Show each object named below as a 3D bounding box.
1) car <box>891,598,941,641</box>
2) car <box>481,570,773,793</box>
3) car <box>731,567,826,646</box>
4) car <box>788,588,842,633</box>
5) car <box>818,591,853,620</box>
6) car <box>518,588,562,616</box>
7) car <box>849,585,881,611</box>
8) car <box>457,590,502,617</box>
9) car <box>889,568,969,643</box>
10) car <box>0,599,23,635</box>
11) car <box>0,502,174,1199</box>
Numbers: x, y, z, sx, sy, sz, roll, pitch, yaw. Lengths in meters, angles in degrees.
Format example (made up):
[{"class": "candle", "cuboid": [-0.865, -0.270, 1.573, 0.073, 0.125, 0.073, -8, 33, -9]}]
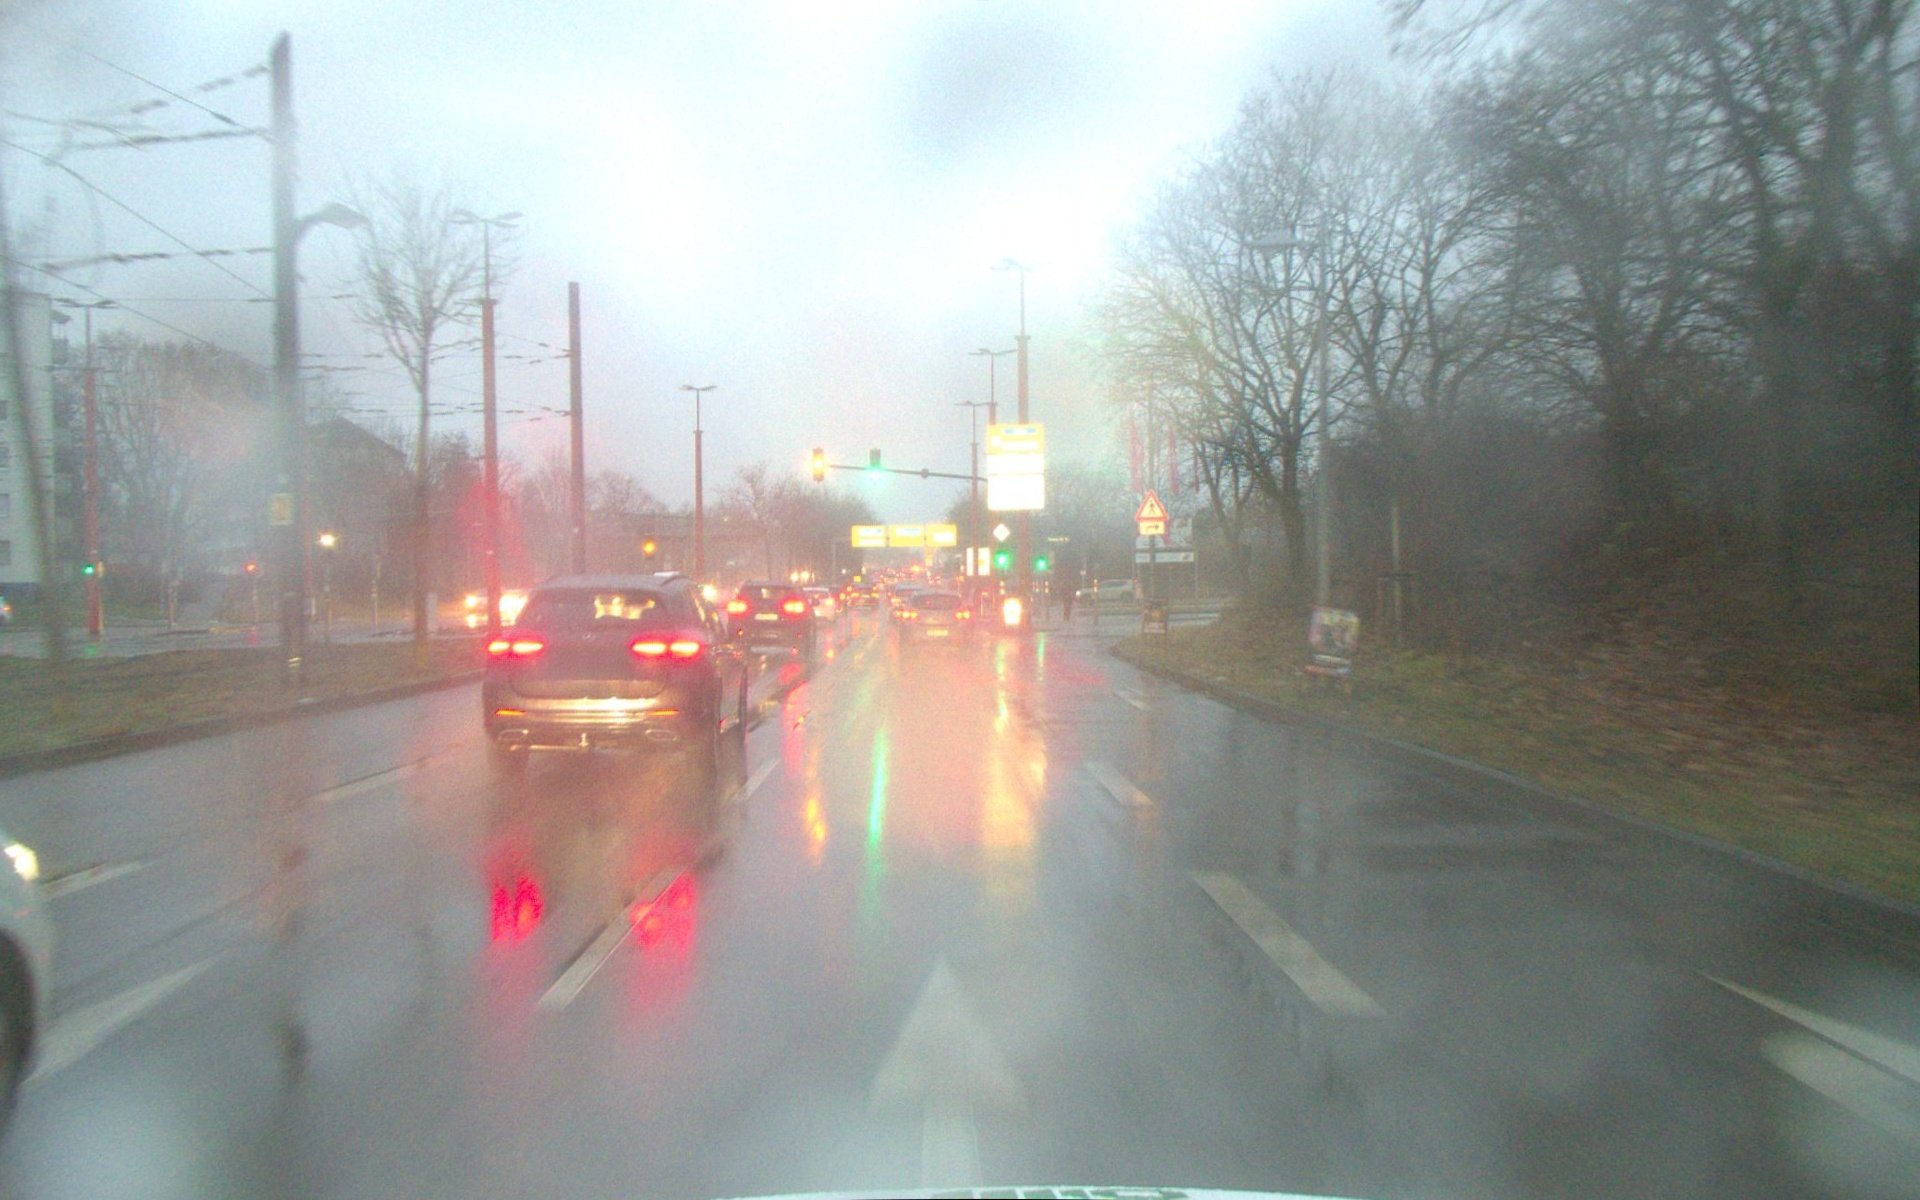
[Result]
[{"class": "car", "cuboid": [-1.796, 0.783, 67.244, 1.953, 1.691, 3.999, 1, 0, -2]}, {"class": "car", "cuboid": [-2.795, 0.607, 14.874, 1.785, 1.676, 4.465, -1, 0, -1]}, {"class": "car", "cuboid": [-4.068, 0.130, 37.651, 1.785, 1.676, 3.999, -1, 0, -1]}, {"class": "car", "cuboid": [-5.567, 0.377, 63.898, 1.785, 1.676, 3.999, -1, 0, -1]}, {"class": "car", "cuboid": [-6.100, 0.269, 81.404, 1.475, 1.362, 3.999, -1, 0, -1]}, {"class": "car", "cuboid": [-24.609, 0.097, 96.993, 1.734, 1.580, 3.945, -1, 1, -3]}, {"class": "car", "cuboid": [-5.730, -0.140, 100.323, 1.785, 1.530, 3.999, -1, 0, -1]}, {"class": "car", "cuboid": [-28.419, 0.171, 97.935, 1.586, 1.521, 4.016, -1, 1, -2]}, {"class": "car", "cuboid": [-0.755, 0.111, 39.790, 1.785, 1.676, 4.465, -1, 0, -1]}, {"class": "car", "cuboid": [-45.892, 0.829, 76.692, 1.508, 1.668, 3.980, -1, 1, 40]}, {"class": "car", "cuboid": [-3.063, 0.626, 2.651, 1.679, 1.676, 4.146, -1, 0, -1]}]
